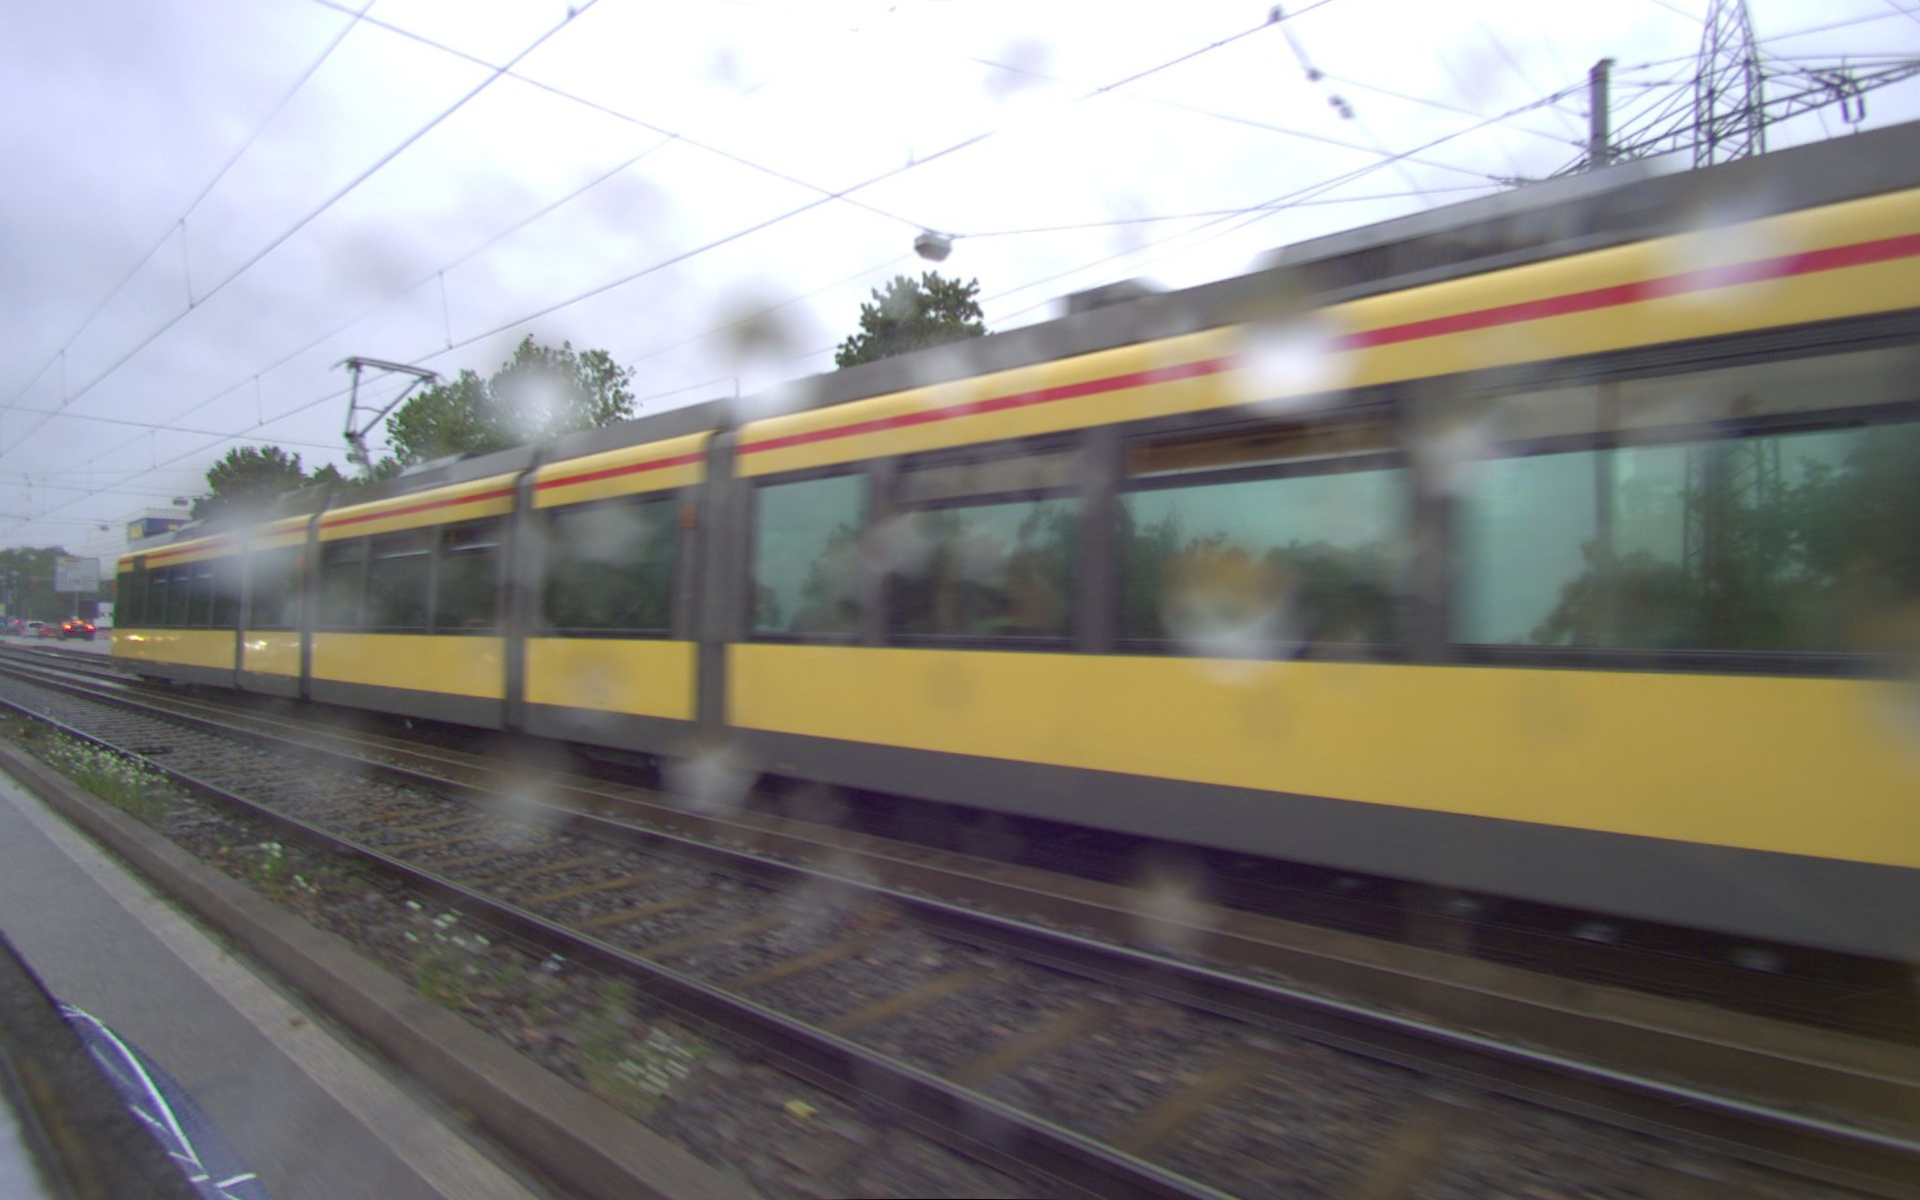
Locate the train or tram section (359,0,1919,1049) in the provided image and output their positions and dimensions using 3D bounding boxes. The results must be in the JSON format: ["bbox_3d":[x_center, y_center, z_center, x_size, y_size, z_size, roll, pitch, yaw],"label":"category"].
[{"bbox_3d":[1.018,-0.298,7.011,19.516,3.734,2.856,-2,-1,41],"label":"train or tram section"}]

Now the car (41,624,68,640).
[{"bbox_3d":[-85.693,3.068,95.736,1.684,1.465,4.002,2,-3,-45],"label":"car"}]

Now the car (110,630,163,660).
[{"bbox_3d":[-49.611,2.687,60.951,4.396,1.655,1.867,-2,-1,42],"label":"car"}]

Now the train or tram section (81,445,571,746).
[{"bbox_3d":[-13.366,0.188,19.478,17.878,3.734,2.835,-2,-1,41],"label":"train or tram section"}]

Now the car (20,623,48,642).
[{"bbox_3d":[-98.345,3.464,107.444,3.999,1.924,1.821,-2,-3,42],"label":"car"}]

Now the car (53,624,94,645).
[{"bbox_3d":[-70.833,2.783,80.826,4.870,1.665,1.916,-2,-3,42],"label":"car"}]

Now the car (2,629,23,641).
[{"bbox_3d":[-123.850,4.543,132.214,3.999,1.557,1.685,-2,-3,42],"label":"car"}]
